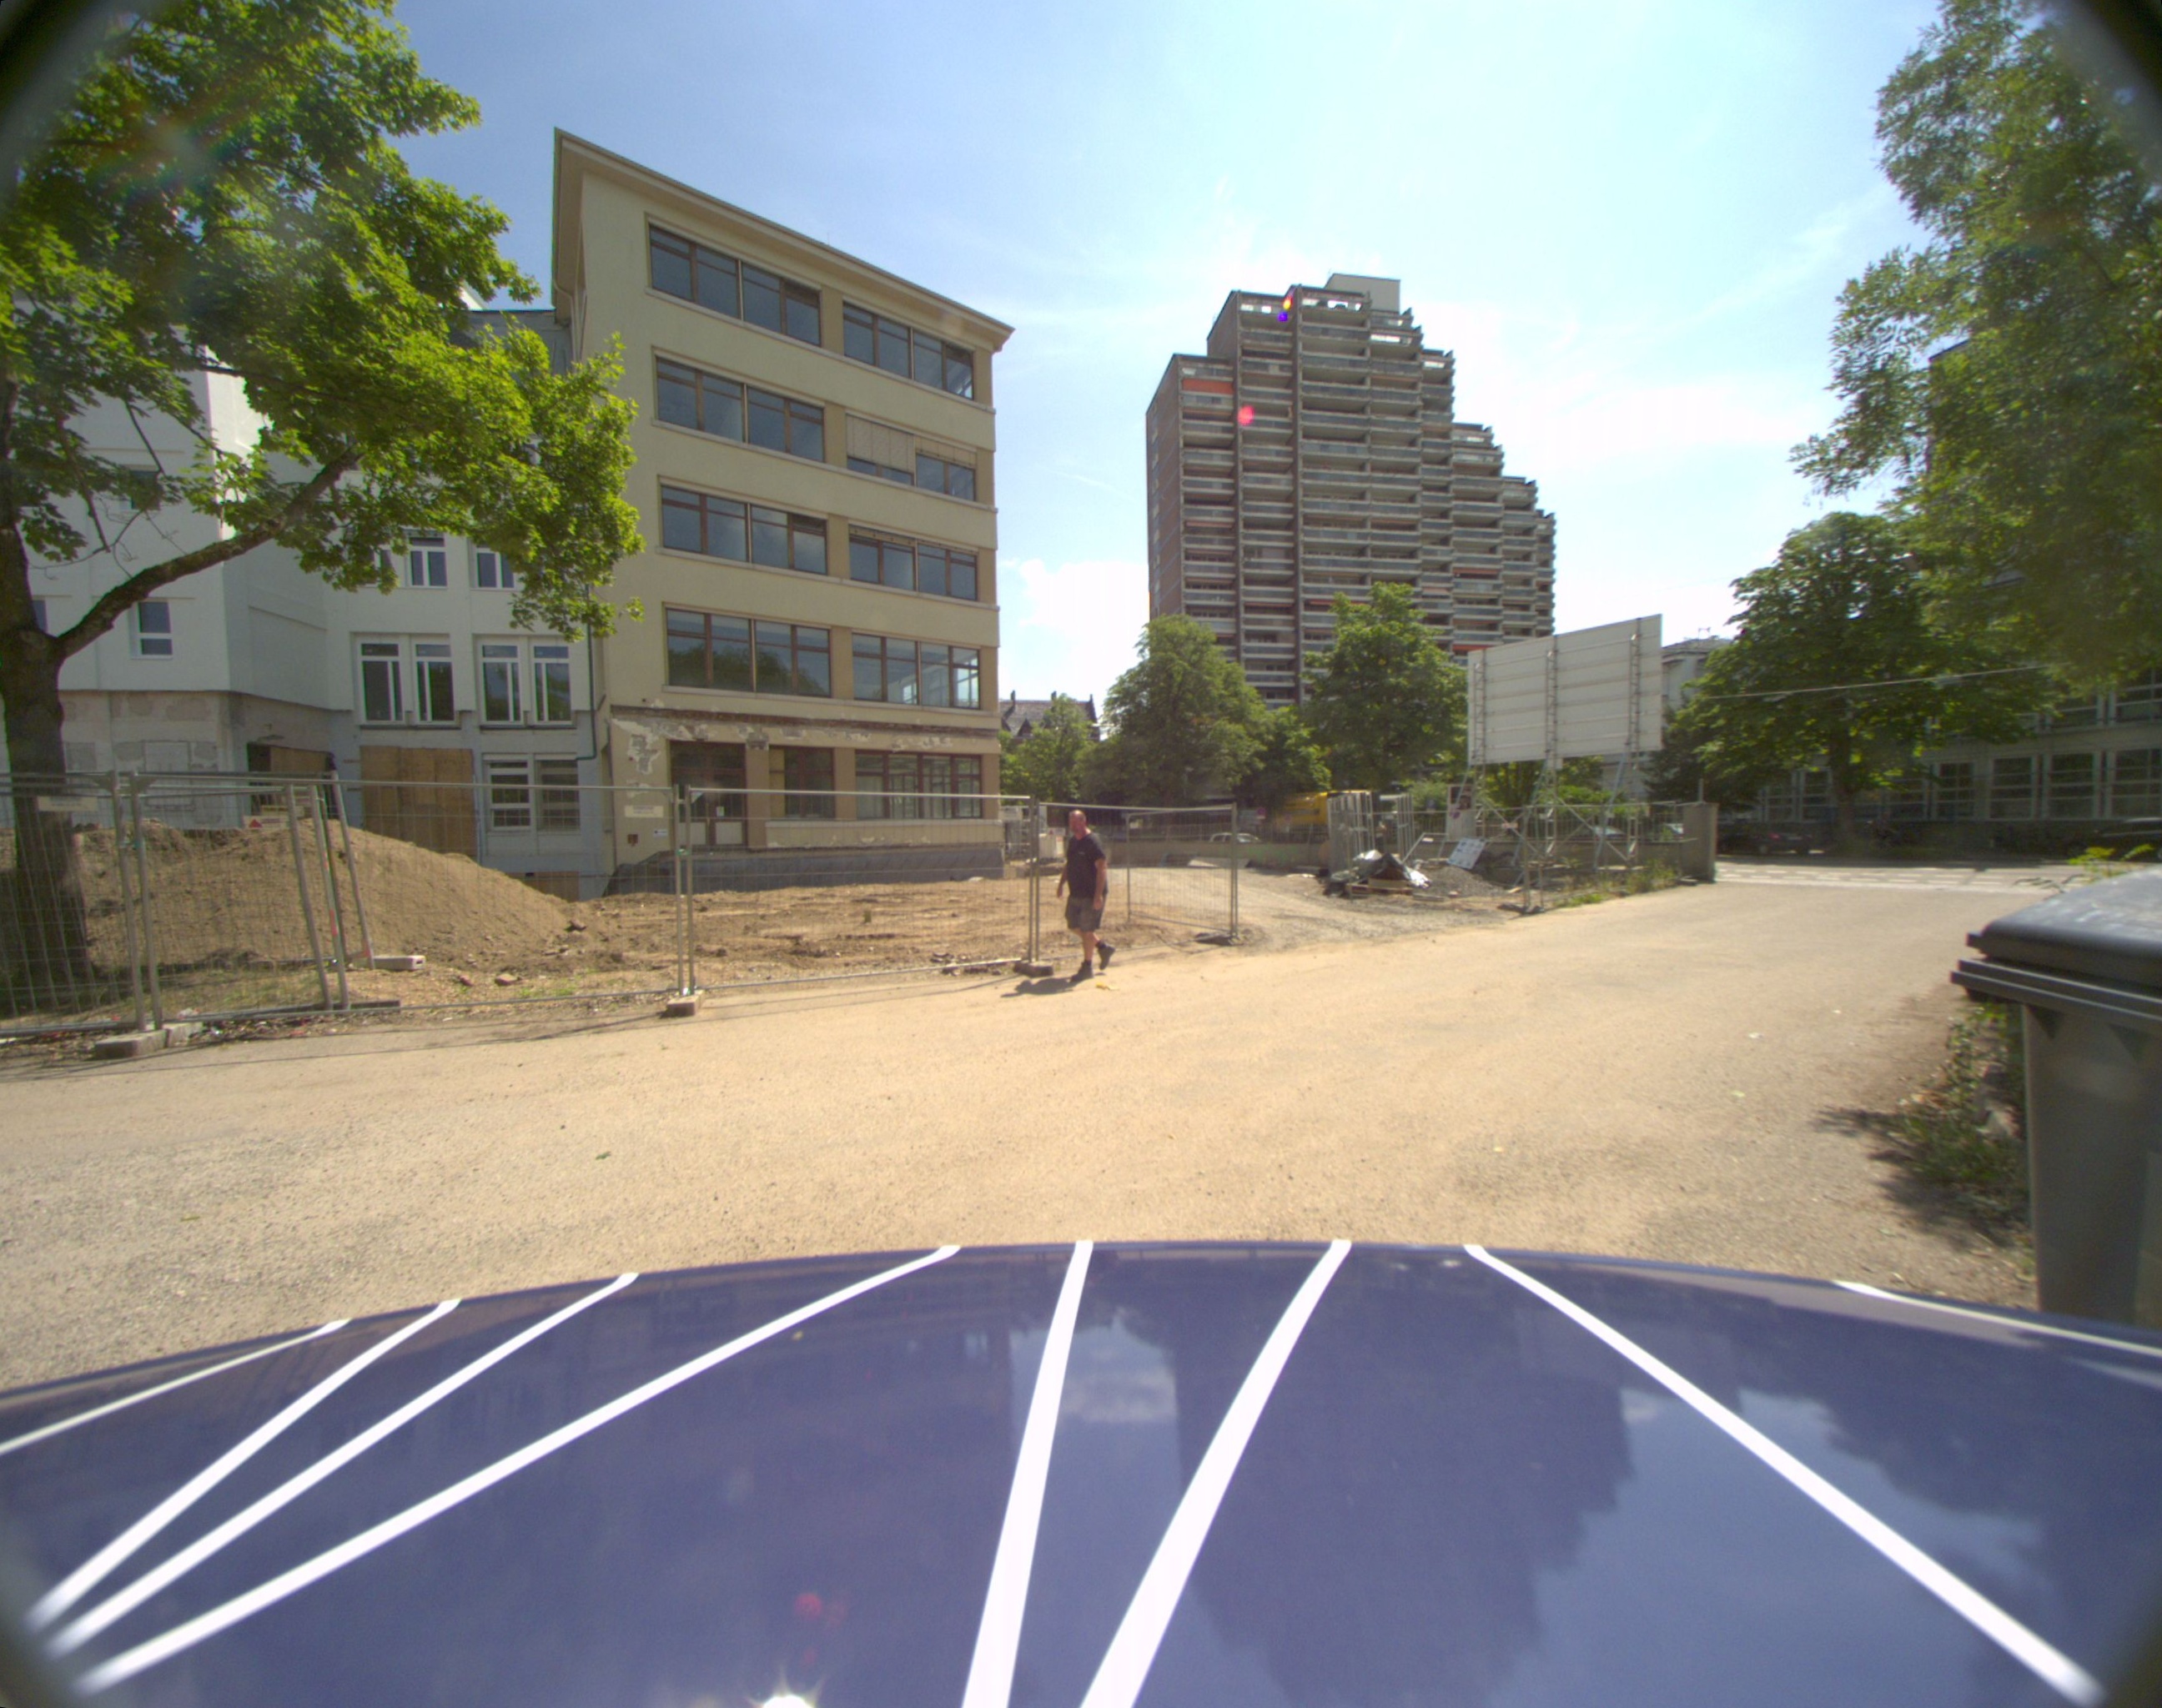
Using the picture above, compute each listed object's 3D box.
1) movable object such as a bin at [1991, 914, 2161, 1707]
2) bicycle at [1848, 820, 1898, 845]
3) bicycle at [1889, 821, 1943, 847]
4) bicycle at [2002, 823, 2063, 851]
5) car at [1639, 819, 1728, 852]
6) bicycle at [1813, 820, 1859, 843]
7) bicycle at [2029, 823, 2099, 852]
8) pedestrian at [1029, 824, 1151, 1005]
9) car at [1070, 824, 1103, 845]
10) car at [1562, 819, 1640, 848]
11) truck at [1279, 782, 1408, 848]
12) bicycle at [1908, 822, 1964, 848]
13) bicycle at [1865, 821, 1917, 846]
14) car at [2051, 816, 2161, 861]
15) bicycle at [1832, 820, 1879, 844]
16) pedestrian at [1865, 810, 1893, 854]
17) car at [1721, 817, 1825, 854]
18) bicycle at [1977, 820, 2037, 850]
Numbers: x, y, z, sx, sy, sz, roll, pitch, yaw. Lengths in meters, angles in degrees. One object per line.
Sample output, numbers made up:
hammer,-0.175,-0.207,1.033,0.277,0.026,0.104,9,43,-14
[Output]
movable object such as a bin,2.252,0.831,0.832,1.114,1.386,1.161,0,2,15
bicycle,37.981,-1.036,36.446,1.927,1.124,0.568,-1,2,-4
bicycle,38.135,-0.923,34.722,1.943,1.124,0.568,-1,2,-4
bicycle,39.190,-0.702,31.305,1.943,1.124,0.568,-1,2,-4
car,28.403,-0.873,35.973,1.816,1.455,4.026,-1,2,14
bicycle,37.709,-1.114,37.965,1.927,1.124,0.568,-1,2,-8
bicycle,39.434,-0.655,30.484,2.234,1.124,0.568,-1,2,-5
pedestrian,0.090,0.591,8.214,0.969,1.809,0.868,-2,3,-34
car,0.584,-2.005,76.119,1.995,2.002,4.004,0,2,20
car,26.447,-1.060,38.803,1.628,1.365,4.024,-1,2,8
truck,17.310,-2.515,51.155,2.753,3.984,9.725,-2,2,-19
bicycle,38.171,-0.872,33.934,1.943,1.124,0.568,-1,2,-4
bicycle,38.051,-0.967,35.704,1.943,1.124,0.568,-1,2,-4
car,36.333,-0.555,25.798,1.752,1.462,4.198,0,2,8
bicycle,37.924,-1.069,37.215,1.927,1.124,0.568,-1,2,-8
pedestrian,34.595,-0.958,32.928,0.716,1.864,0.576,-2,3,-22
car,30.294,-0.838,33.401,1.648,1.508,3.577,-1,2,8
bicycle,39.090,-0.816,32.092,1.943,1.230,0.568,-1,2,-4
